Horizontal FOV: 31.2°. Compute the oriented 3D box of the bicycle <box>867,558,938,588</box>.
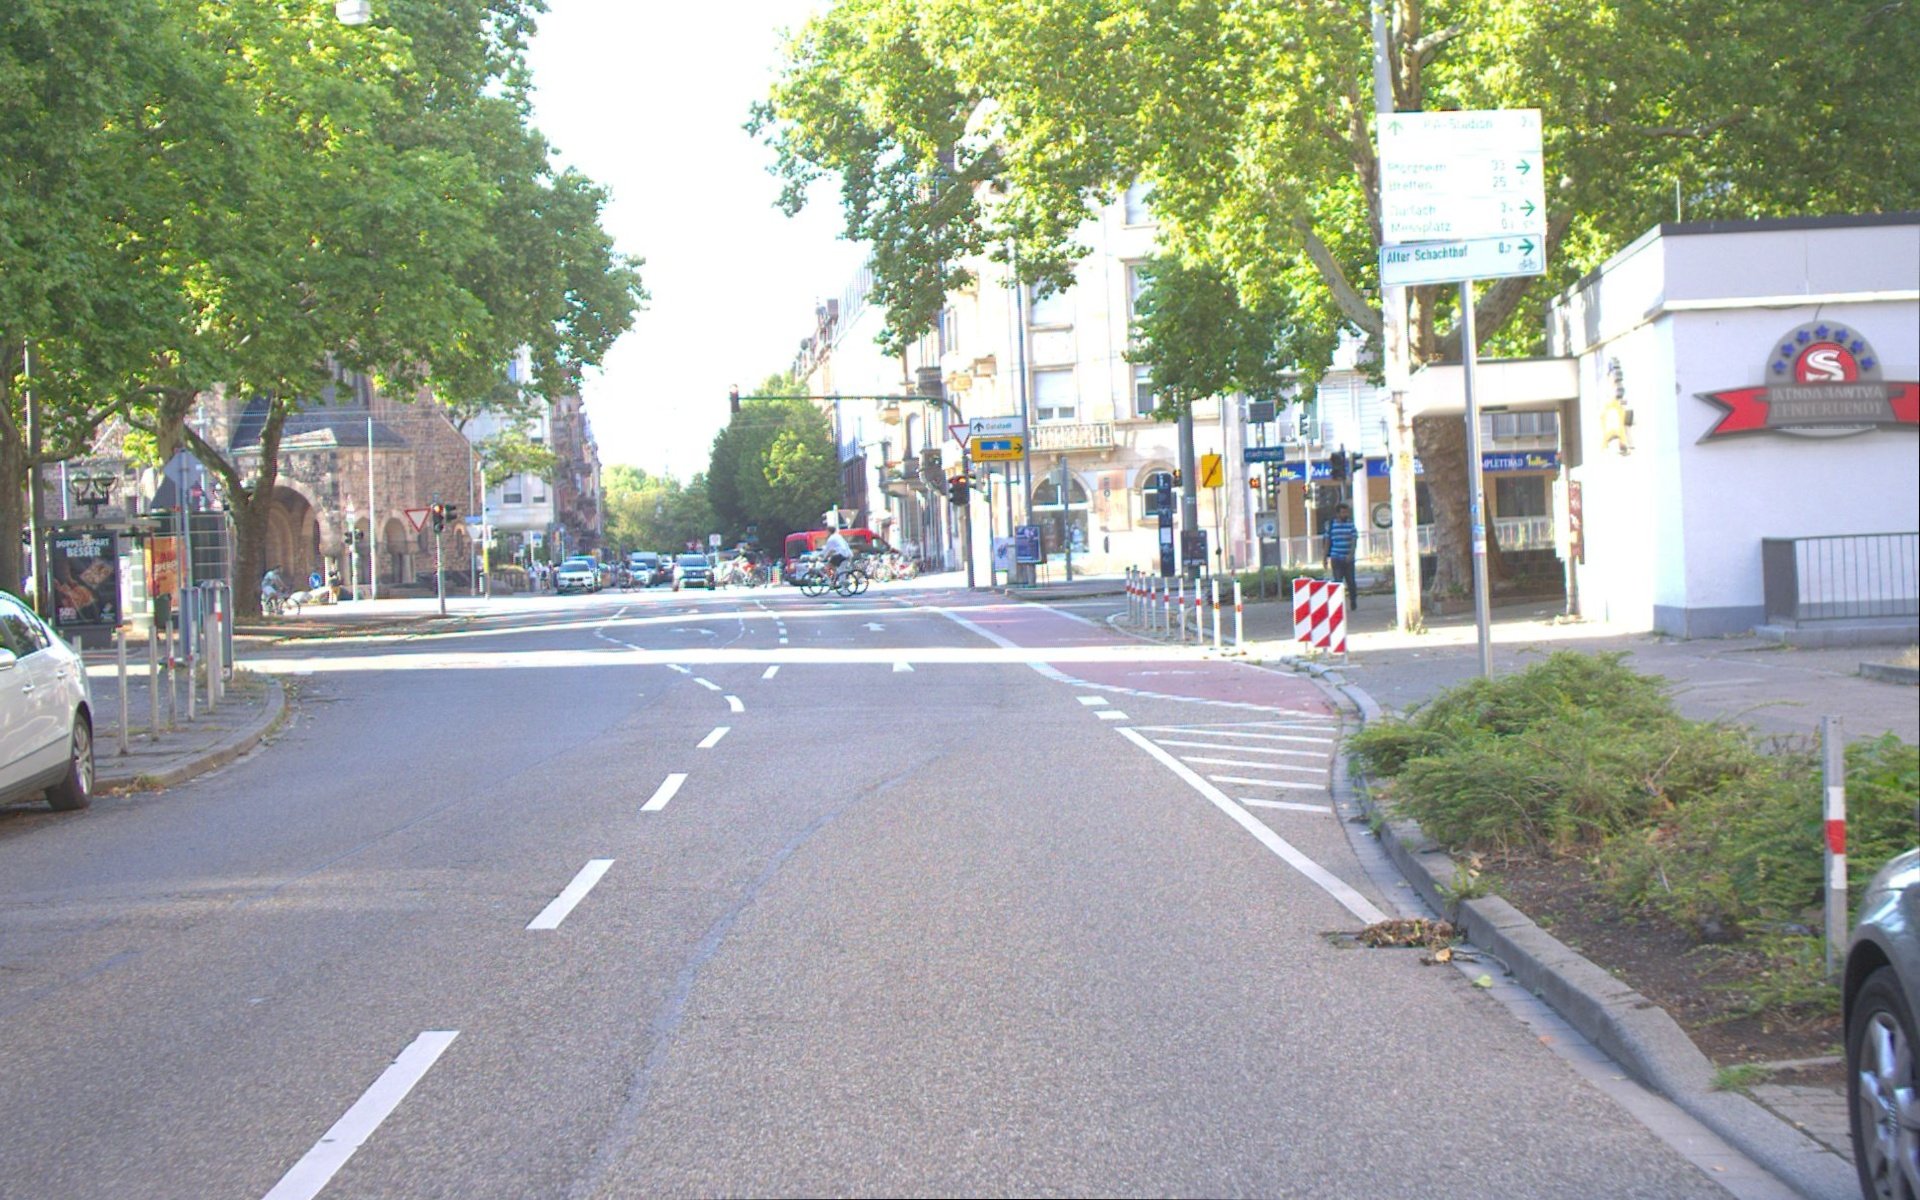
[{"bbox_3d":[-2.294,-1.081,138.084,2.802,1.199,0.510,0,0,-7],"label":"bicycle"}]

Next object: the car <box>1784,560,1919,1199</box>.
[{"bbox_3d":[2.750,0.653,5.711,1.740,1.468,4.000,0,0,-1],"label":"car"}]

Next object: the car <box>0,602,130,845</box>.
[{"bbox_3d":[-6.271,0.698,20.072,1.769,1.348,4.711,0,0,-1],"label":"car"}]

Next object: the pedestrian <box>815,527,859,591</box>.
[{"bbox_3d":[-3.311,-1.097,92.550,0.992,1.702,0.627,0,0,21],"label":"pedestrian"}]

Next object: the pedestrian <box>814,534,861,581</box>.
[{"bbox_3d":[-3.377,-1.171,94.925,1.049,1.273,0.791,0,0,22],"label":"pedestrian"}]

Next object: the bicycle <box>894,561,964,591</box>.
[{"bbox_3d":[-1.253,-0.982,139.701,2.802,1.199,0.517,0,0,-7],"label":"bicycle"}]

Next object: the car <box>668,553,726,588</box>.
[{"bbox_3d":[-11.238,-1.255,146.988,1.587,1.457,3.181,0,0,13],"label":"car"}]

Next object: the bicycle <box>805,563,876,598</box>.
[{"bbox_3d":[-3.289,-0.533,94.929,1.783,0.892,0.750,-2,1,21],"label":"bicycle"}]

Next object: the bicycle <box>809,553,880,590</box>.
[{"bbox_3d":[-3.101,-0.768,92.455,1.785,0.978,0.656,0,0,21],"label":"bicycle"}]

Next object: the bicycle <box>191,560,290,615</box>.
[{"bbox_3d":[-22.059,-0.380,105.428,2.842,1.650,0.830,0,0,8],"label":"bicycle"}]

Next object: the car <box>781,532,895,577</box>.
[{"bbox_3d":[-5.601,-2.089,158.320,4.988,2.007,2.166,0,0,-40],"label":"car"}]

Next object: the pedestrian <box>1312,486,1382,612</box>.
[{"bbox_3d":[6.432,-0.846,57.218,0.827,2.007,1.153,-5,0,-1],"label":"pedestrian"}]

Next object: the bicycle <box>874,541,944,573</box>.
[{"bbox_3d":[-2.089,-1.748,140.274,2.802,1.198,0.510,0,16,-7],"label":"bicycle"}]

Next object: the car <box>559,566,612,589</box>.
[{"bbox_3d":[-18.830,-1.129,172.885,1.595,1.140,3.382,0,0,14],"label":"car"}]
